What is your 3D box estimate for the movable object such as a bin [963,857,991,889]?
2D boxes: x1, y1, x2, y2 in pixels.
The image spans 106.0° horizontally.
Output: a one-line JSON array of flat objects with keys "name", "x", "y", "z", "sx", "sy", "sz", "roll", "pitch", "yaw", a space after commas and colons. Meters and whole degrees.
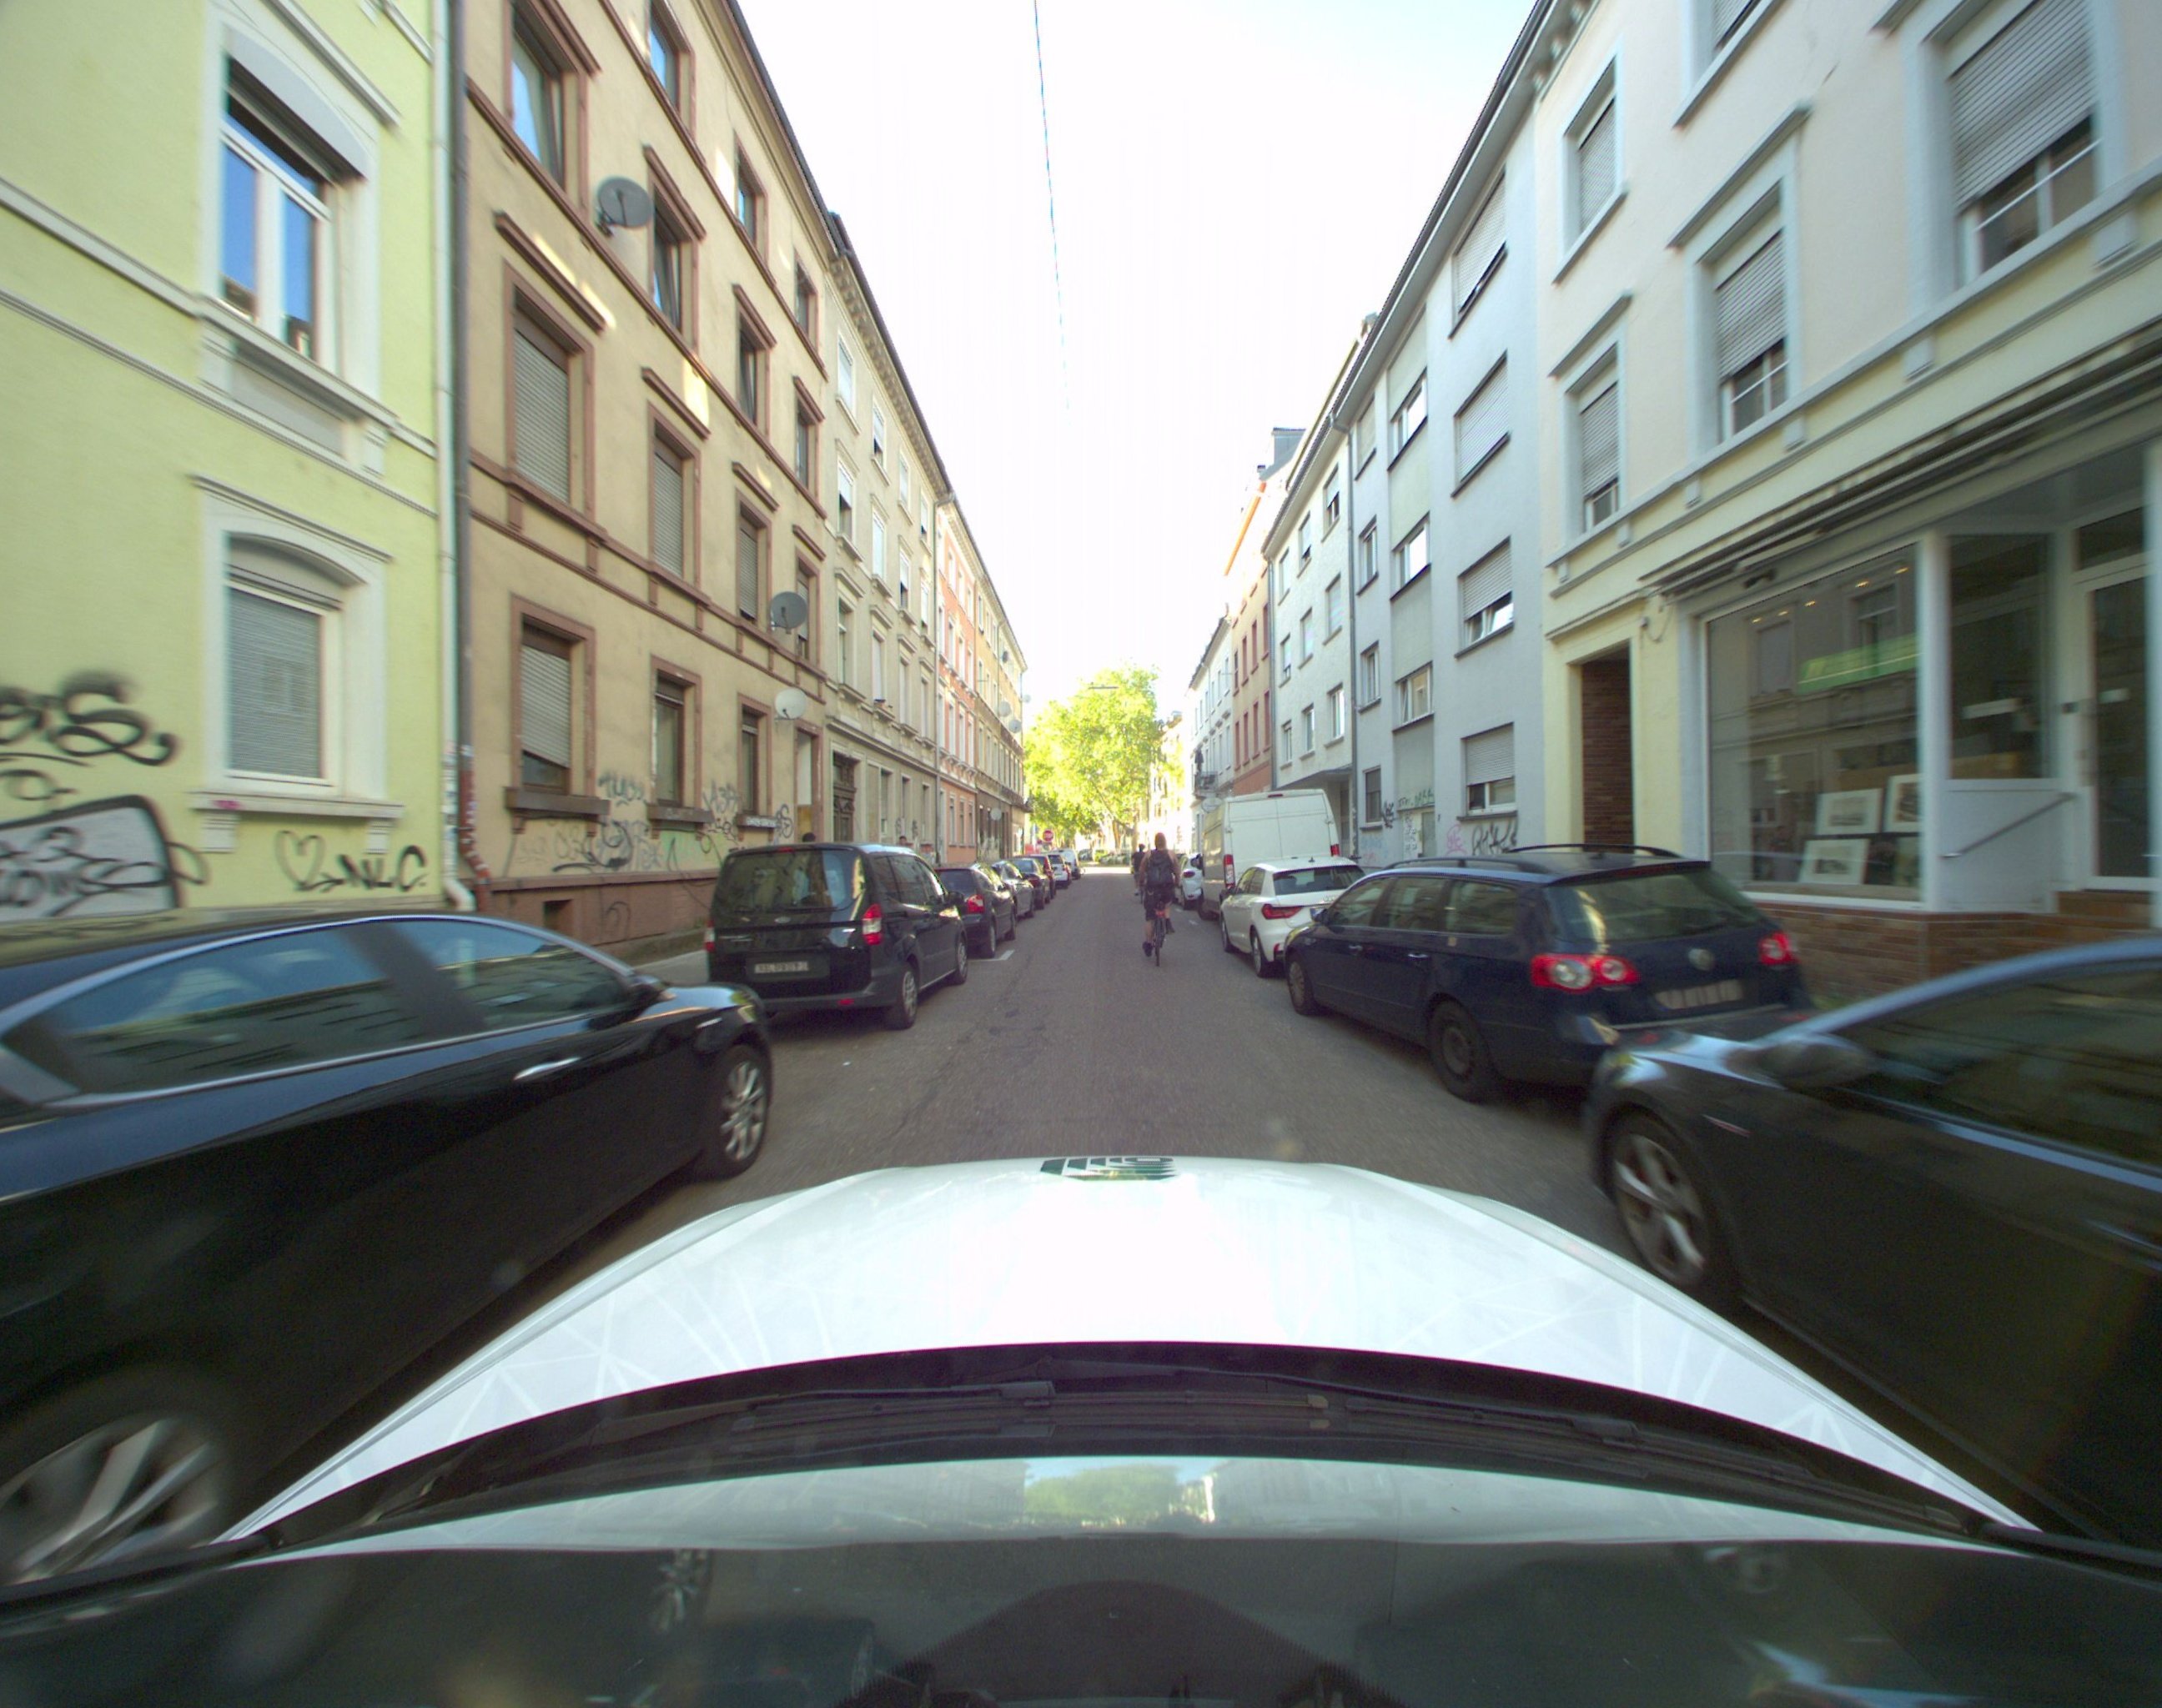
[{"name": "movable object such as a bin", "x": -4.012, "y": 0.720, "z": 31.319, "sx": 0.831, "sy": 1.126, "sz": 0.716, "roll": -6, "pitch": 0, "yaw": 4}]

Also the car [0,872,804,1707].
[{"name": "car", "x": -2.550, "y": 0.847, "z": 2.704, "sx": 1.730, "sy": 1.427, "sz": 4.002, "roll": -1, "pitch": 0, "yaw": 2}]

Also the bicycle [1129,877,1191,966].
[{"name": "bicycle", "x": 1.097, "y": 0.915, "z": 11.706, "sx": 0.737, "sy": 1.100, "sz": 2.043, "roll": 1, "pitch": 0, "yaw": 1}]

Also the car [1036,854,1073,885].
[{"name": "car", "x": -1.242, "y": 0.727, "z": 39.773, "sx": 1.547, "sy": 1.399, "sz": 3.669, "roll": -1, "pitch": 0, "yaw": 1}]

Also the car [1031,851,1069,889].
[{"name": "car", "x": -1.333, "y": 0.672, "z": 36.009, "sx": 1.540, "sy": 1.550, "sz": 3.463, "roll": -1, "pitch": 0, "yaw": -1}]

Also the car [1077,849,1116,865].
[{"name": "car", "x": 1.795, "y": 0.340, "z": 96.726, "sx": 4.458, "sy": 1.696, "sz": 1.864, "roll": -1, "pitch": 0, "yaw": -3}]

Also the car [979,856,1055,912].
[{"name": "car", "x": -1.761, "y": 0.791, "z": 23.675, "sx": 1.699, "sy": 1.414, "sz": 4.304, "roll": -1, "pitch": 0, "yaw": 2}]

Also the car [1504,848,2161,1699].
[{"name": "car", "x": 2.795, "y": 0.750, "z": 1.658, "sx": 1.740, "sy": 1.485, "sz": 4.244, "roll": -1, "pitch": 0, "yaw": 2}]

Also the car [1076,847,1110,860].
[{"name": "car", "x": 1.652, "y": -0.066, "z": 112.459, "sx": 4.458, "sy": 1.696, "sz": 1.864, "roll": -1, "pitch": 0, "yaw": -3}]

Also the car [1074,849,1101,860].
[{"name": "car", "x": 1.049, "y": 0.080, "z": 134.793, "sx": 4.458, "sy": 1.696, "sz": 1.864, "roll": -1, "pitch": 0, "yaw": -3}]

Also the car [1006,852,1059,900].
[{"name": "car", "x": -1.653, "y": 0.719, "z": 28.635, "sx": 1.599, "sy": 1.530, "sz": 3.379, "roll": -2, "pitch": 0, "yaw": 0}]

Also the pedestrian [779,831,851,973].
[{"name": "pedestrian", "x": -3.526, "y": 0.612, "z": 10.855, "sx": 0.648, "sy": 1.817, "sz": 0.754, "roll": 1, "pitch": 0, "yaw": 2}]

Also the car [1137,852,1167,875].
[{"name": "car", "x": 4.705, "y": 0.614, "z": 54.397, "sx": 1.681, "sy": 1.471, "sz": 3.574, "roll": -1, "pitch": 0, "yaw": 0}]

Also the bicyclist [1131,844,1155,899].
[{"name": "bicyclist", "x": 1.888, "y": 0.527, "z": 24.894, "sx": 0.667, "sy": 1.658, "sz": 0.877, "roll": -1, "pitch": 0, "yaw": 2}]

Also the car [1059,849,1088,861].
[{"name": "car", "x": -1.260, "y": 0.163, "z": 128.374, "sx": 4.458, "sy": 1.696, "sz": 1.864, "roll": -1, "pitch": 0, "yaw": -3}]

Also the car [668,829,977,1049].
[{"name": "car", "x": -2.377, "y": 0.693, "z": 8.664, "sx": 1.794, "sy": 1.698, "sz": 4.002, "roll": -3, "pitch": 0, "yaw": 2}]

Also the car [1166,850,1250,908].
[{"name": "car", "x": 3.558, "y": 0.646, "z": 23.464, "sx": 1.726, "sy": 1.470, "sz": 4.019, "roll": -1, "pitch": 0, "yaw": -1}]

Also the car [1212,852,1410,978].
[{"name": "car", "x": 3.012, "y": 0.717, "z": 11.496, "sx": 1.719, "sy": 1.429, "sz": 3.832, "roll": -1, "pitch": 0, "yaw": 1}]

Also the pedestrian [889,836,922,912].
[{"name": "pedestrian", "x": -4.384, "y": 0.499, "z": 20.397, "sx": 0.608, "sy": 1.858, "sz": 0.754, "roll": 1, "pitch": 0, "yaw": 1}]

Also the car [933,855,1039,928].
[{"name": "car", "x": -2.048, "y": 0.768, "z": 18.618, "sx": 1.666, "sy": 1.430, "sz": 3.893, "roll": -1, "pitch": 0, "yaw": 4}]

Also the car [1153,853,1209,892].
[{"name": "car", "x": 3.747, "y": 0.653, "z": 31.171, "sx": 1.652, "sy": 1.338, "sz": 4.000, "roll": -1, "pitch": 0, "yaw": 0}]

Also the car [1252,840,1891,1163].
[{"name": "car", "x": 3.040, "y": 0.715, "z": 6.440, "sx": 1.810, "sy": 1.478, "sz": 4.596, "roll": -4, "pitch": 1, "yaw": -7}]

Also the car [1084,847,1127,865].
[{"name": "car", "x": 2.582, "y": 0.183, "z": 87.636, "sx": 4.458, "sy": 1.759, "sz": 1.864, "roll": -1, "pitch": 0, "yaw": -3}]

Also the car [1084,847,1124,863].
[{"name": "car", "x": 2.581, "y": 0.132, "z": 92.420, "sx": 4.458, "sy": 1.696, "sz": 1.864, "roll": -1, "pitch": 0, "yaw": -3}]

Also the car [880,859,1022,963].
[{"name": "car", "x": -2.016, "y": 0.835, "z": 13.637, "sx": 1.585, "sy": 1.440, "sz": 3.656, "roll": -1, "pitch": 0, "yaw": 3}]

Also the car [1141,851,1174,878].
[{"name": "car", "x": 4.556, "y": 0.581, "z": 48.821, "sx": 1.647, "sy": 1.530, "sz": 3.574, "roll": -1, "pitch": 0, "yaw": 0}]

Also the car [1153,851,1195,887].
[{"name": "car", "x": 4.090, "y": 0.618, "z": 36.258, "sx": 1.586, "sy": 1.492, "sz": 3.878, "roll": -1, "pitch": 0, "yaw": 2}]

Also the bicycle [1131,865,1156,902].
[{"name": "bicycle", "x": 1.885, "y": 0.890, "z": 24.942, "sx": 0.661, "sy": 1.037, "sz": 1.959, "roll": -1, "pitch": 0, "yaw": 2}]

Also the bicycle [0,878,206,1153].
[{"name": "bicycle", "x": -5.428, "y": 0.781, "z": 3.534, "sx": 0.665, "sy": 1.245, "sz": 2.328, "roll": 2, "pitch": 0, "yaw": 1}]

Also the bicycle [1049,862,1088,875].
[{"name": "bicycle", "x": -0.882, "y": 1.021, "z": 57.604, "sx": 2.708, "sy": 0.892, "sz": 0.618, "roll": -1, "pitch": 0, "yaw": -1}]

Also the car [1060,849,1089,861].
[{"name": "car", "x": -1.042, "y": 0.142, "z": 125.940, "sx": 4.458, "sy": 1.696, "sz": 1.864, "roll": -1, "pitch": 0, "yaw": -3}]

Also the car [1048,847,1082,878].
[{"name": "car", "x": -0.916, "y": 0.491, "z": 48.210, "sx": 1.781, "sy": 1.737, "sz": 3.877, "roll": -1, "pitch": 0, "yaw": 1}]

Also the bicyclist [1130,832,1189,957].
[{"name": "bicyclist", "x": 1.101, "y": 0.548, "z": 11.616, "sx": 0.737, "sy": 1.679, "sz": 1.117, "roll": 1, "pitch": 0, "yaw": 1}]

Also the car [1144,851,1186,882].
[{"name": "car", "x": 4.240, "y": 0.617, "z": 41.716, "sx": 1.705, "sy": 1.470, "sz": 4.000, "roll": -1, "pitch": 0, "yaw": 0}]

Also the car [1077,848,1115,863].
[{"name": "car", "x": 1.806, "y": 0.174, "z": 99.181, "sx": 4.458, "sy": 1.696, "sz": 1.864, "roll": -1, "pitch": 0, "yaw": -3}]

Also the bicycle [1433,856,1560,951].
[{"name": "bicycle", "x": 5.850, "y": 0.638, "z": 11.649, "sx": 0.625, "sy": 1.158, "sz": 2.353, "roll": -4, "pitch": 0, "yaw": 2}]

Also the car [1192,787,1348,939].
[{"name": "car", "x": 3.631, "y": 0.149, "z": 16.929, "sx": 2.194, "sy": 2.550, "sz": 6.042, "roll": -1, "pitch": 0, "yaw": 4}]

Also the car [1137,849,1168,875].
[{"name": "car", "x": 5.159, "y": 0.550, "z": 59.298, "sx": 1.887, "sy": 1.769, "sz": 3.999, "roll": -1, "pitch": 0, "yaw": 0}]
